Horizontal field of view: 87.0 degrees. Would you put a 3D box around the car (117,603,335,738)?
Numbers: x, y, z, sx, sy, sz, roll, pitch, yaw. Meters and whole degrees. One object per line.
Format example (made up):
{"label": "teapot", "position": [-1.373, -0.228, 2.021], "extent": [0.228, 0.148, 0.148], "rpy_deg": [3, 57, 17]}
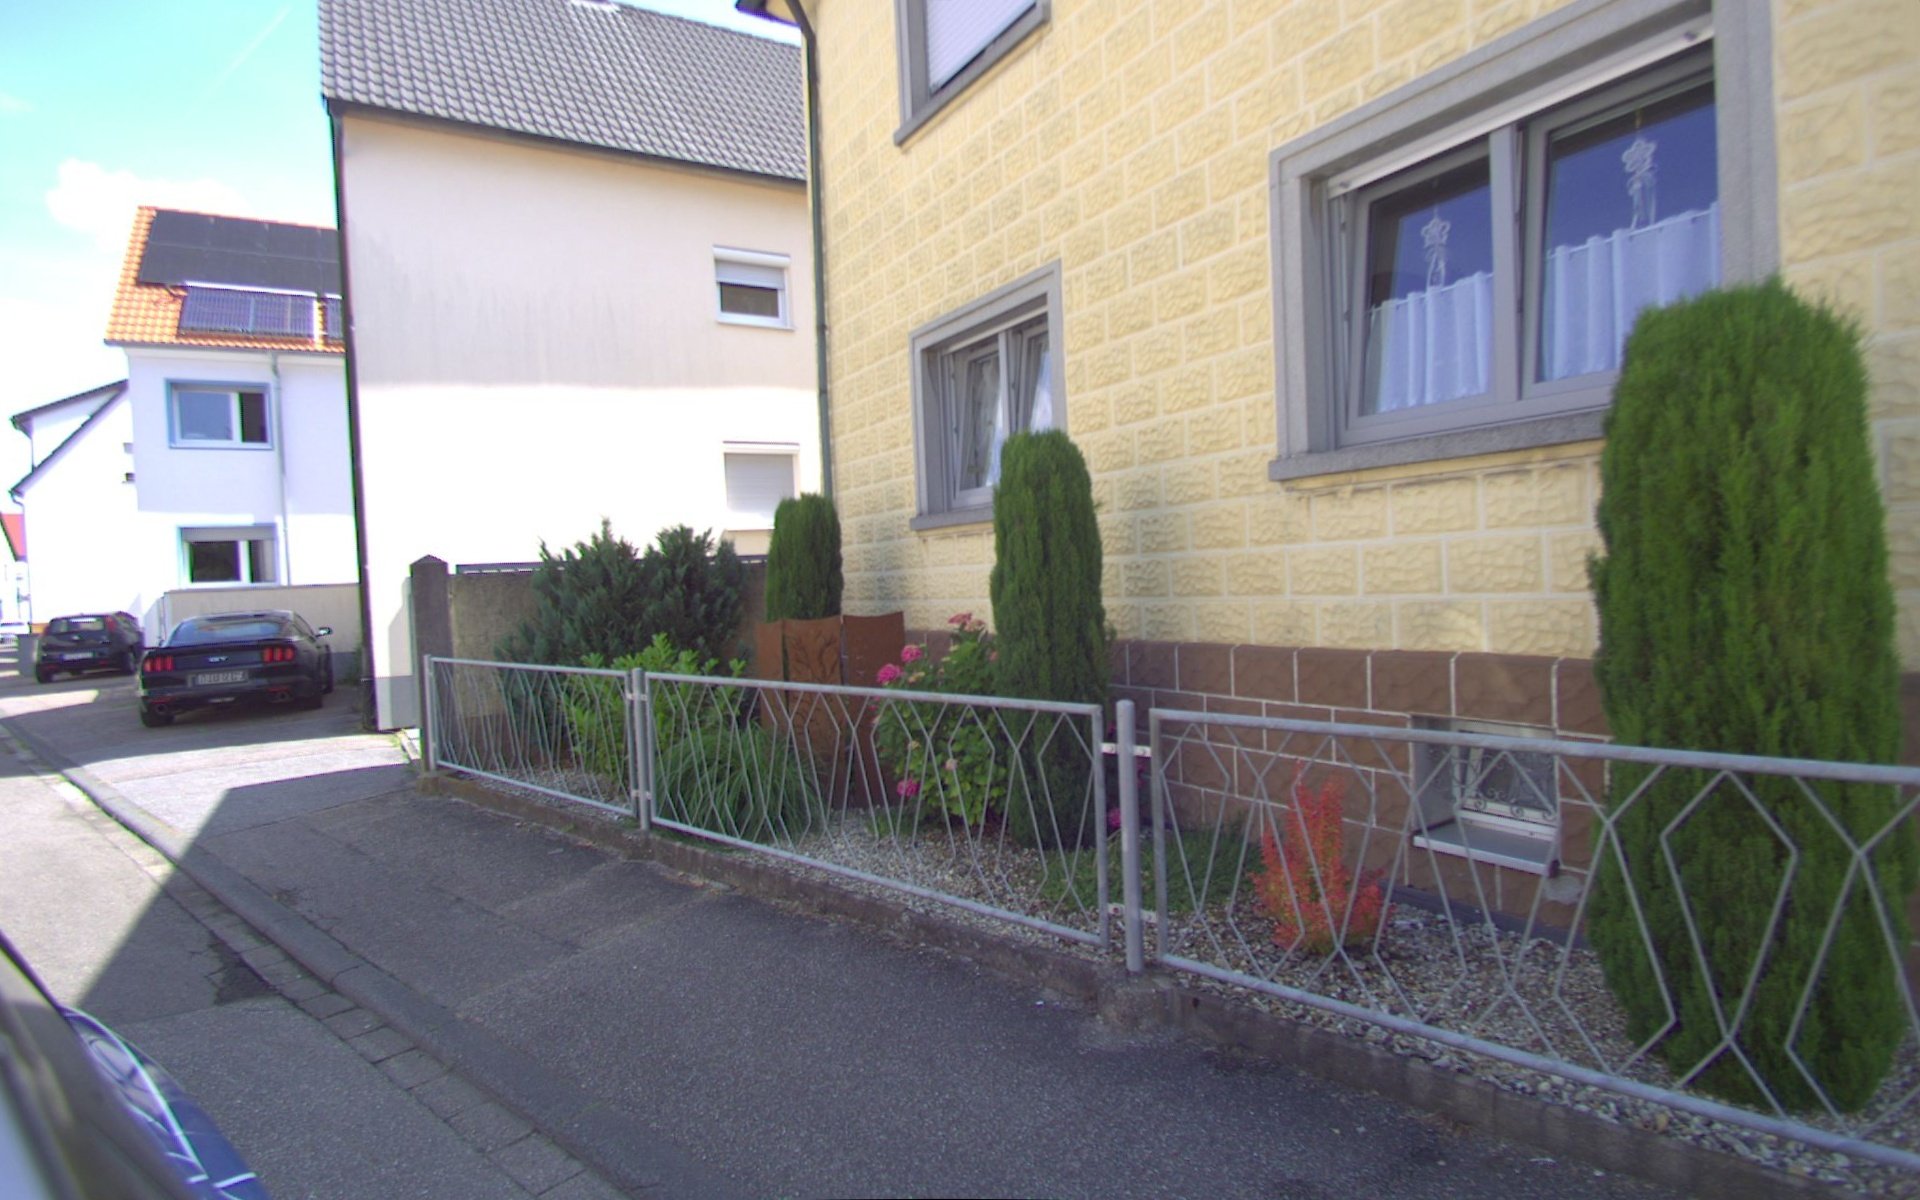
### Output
{"label": "car", "position": [-9.891, 0.814, 14.001], "extent": [1.745, 1.359, 4.484], "rpy_deg": [-5, 3, -28]}

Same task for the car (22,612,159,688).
{"label": "car", "position": [-19.953, 1.075, 23.390], "extent": [1.615, 1.465, 3.798], "rpy_deg": [-5, 2, -30]}

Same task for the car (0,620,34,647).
{"label": "car", "position": [-61.786, 2.199, 65.849], "extent": [1.758, 1.511, 4.048], "rpy_deg": [-7, 4, -36]}

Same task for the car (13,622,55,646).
{"label": "car", "position": [-69.405, 2.515, 75.918], "extent": [1.758, 1.511, 4.048], "rpy_deg": [-7, 4, -36]}
